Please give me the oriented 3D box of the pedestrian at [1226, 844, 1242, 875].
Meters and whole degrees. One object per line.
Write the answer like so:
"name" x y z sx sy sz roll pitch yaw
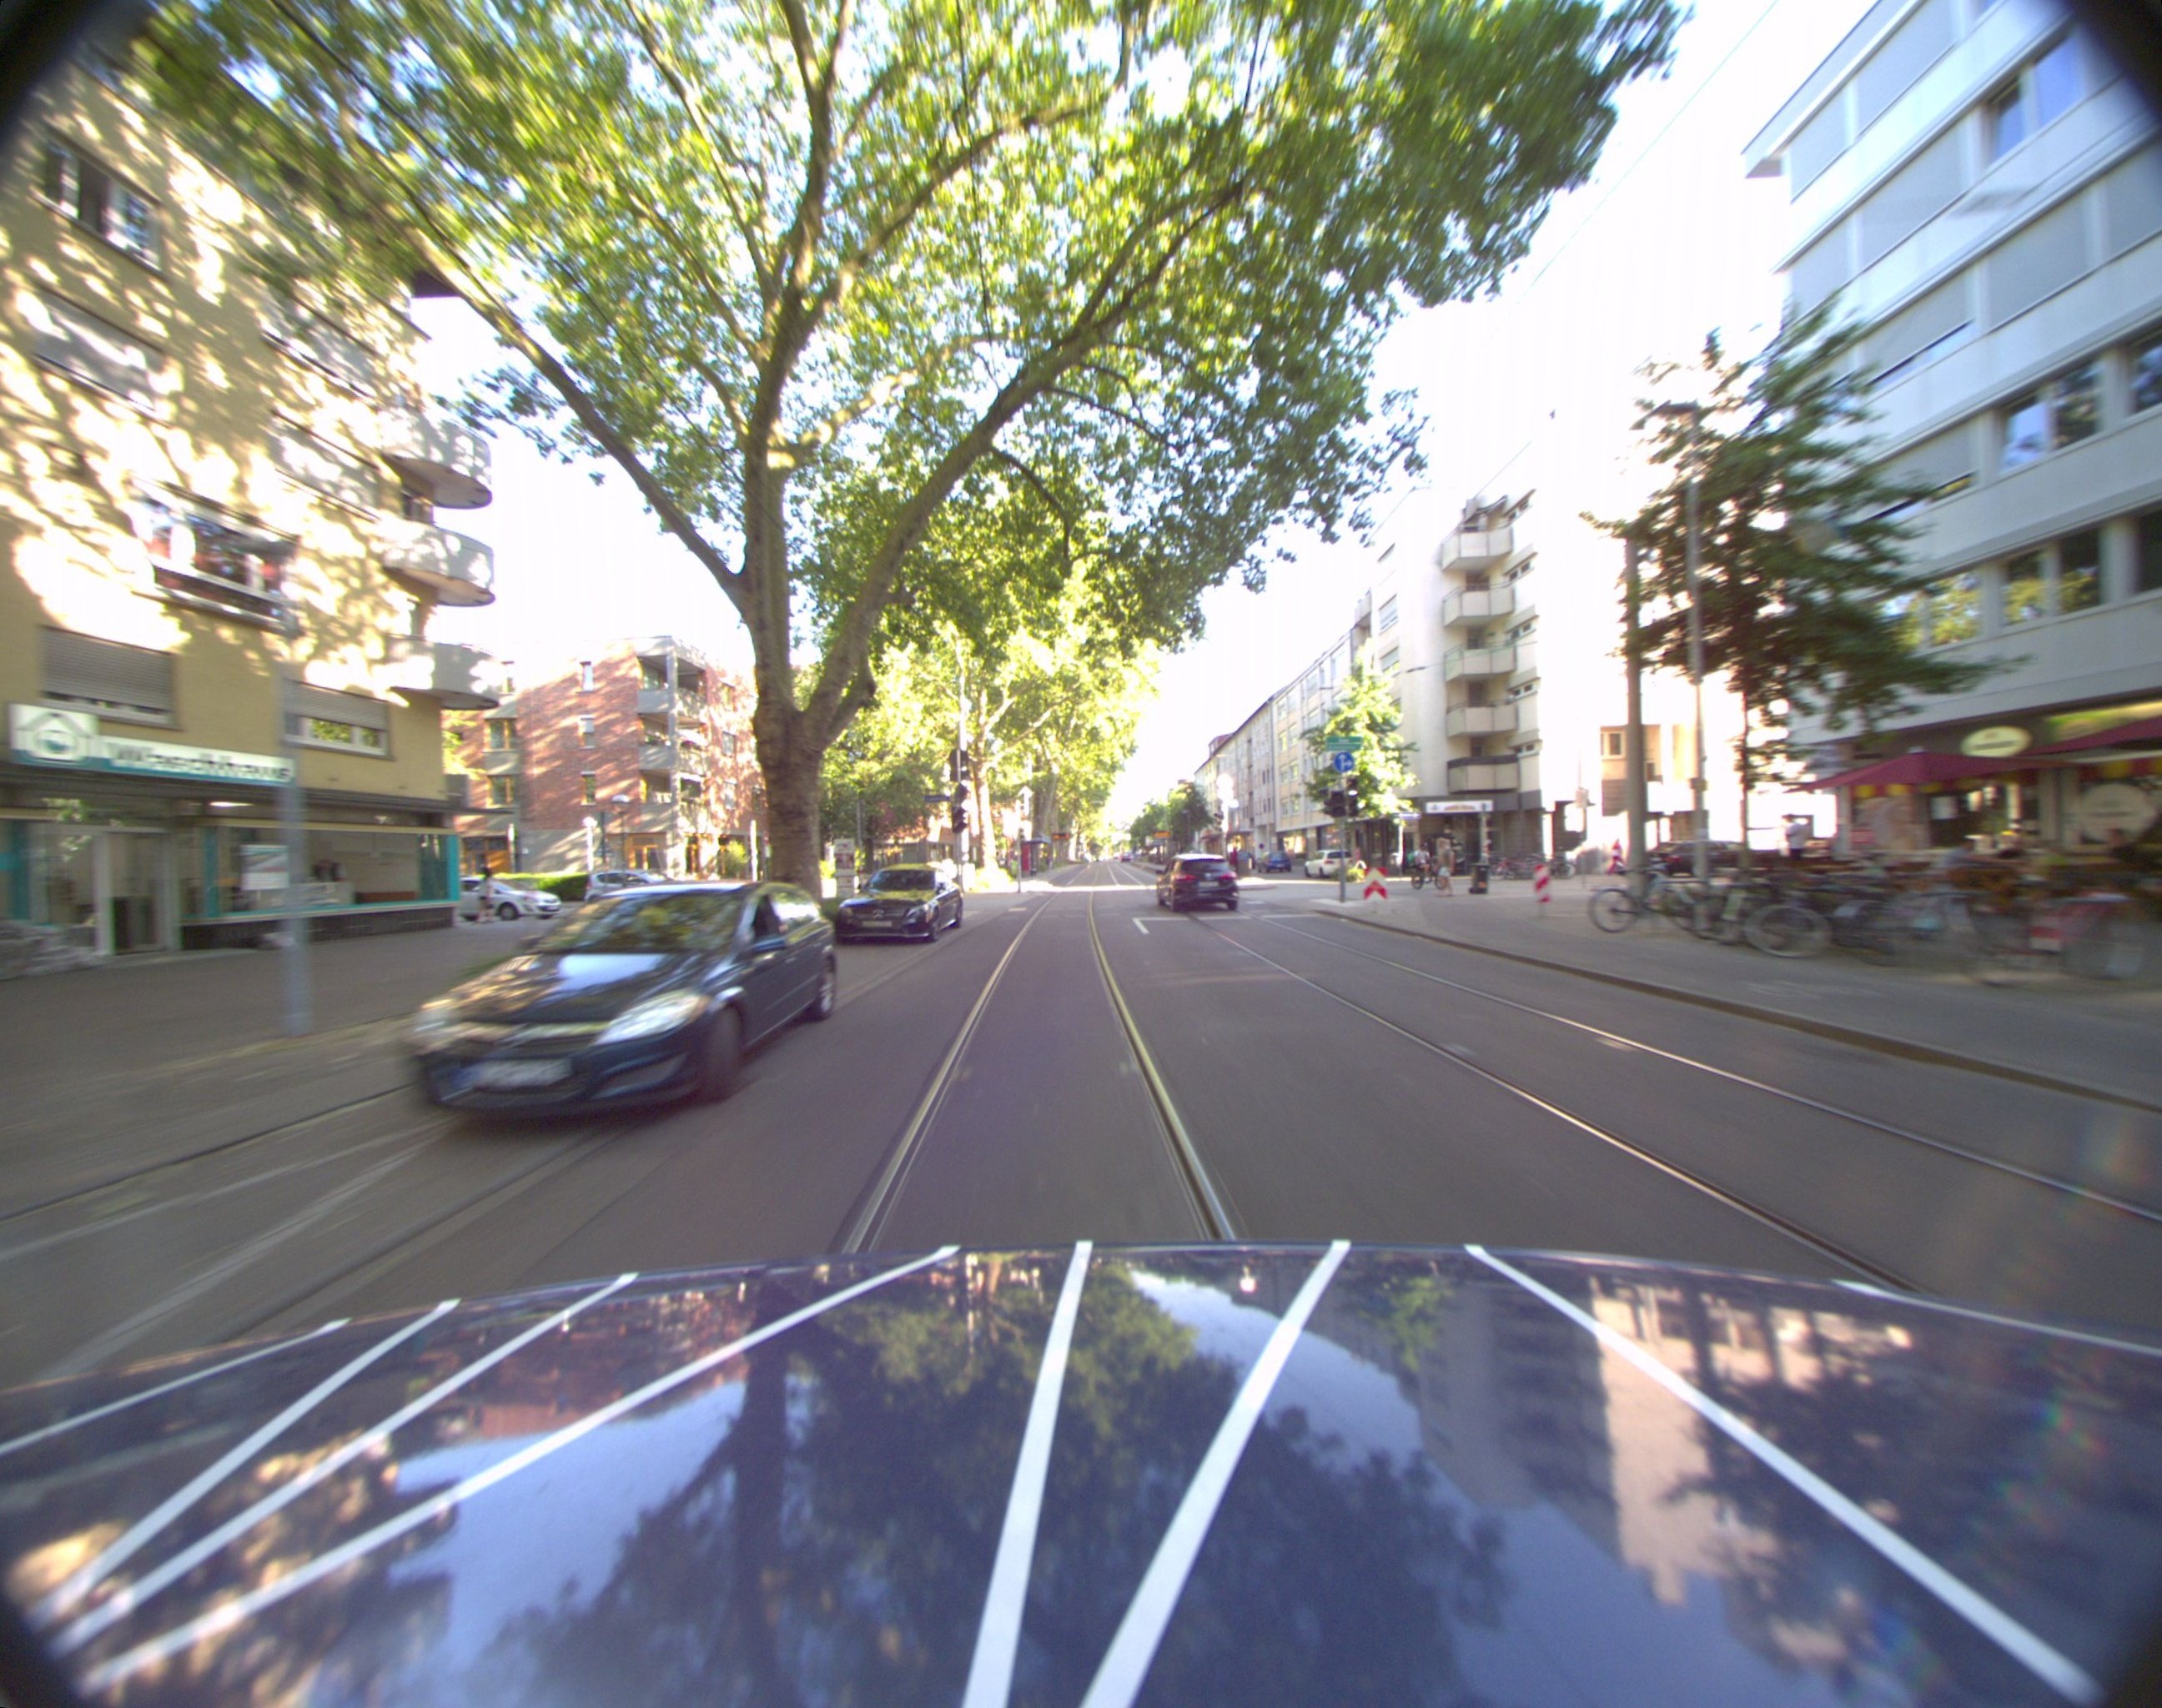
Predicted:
"pedestrian" 7.766 0.280 38.553 0.655 1.576 0.772 -2 1 2

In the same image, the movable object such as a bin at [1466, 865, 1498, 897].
"movable object such as a bin" 12.027 0.813 22.820 0.540 0.927 0.649 -1 0 -15

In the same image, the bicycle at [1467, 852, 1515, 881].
"bicycle" 17.295 0.506 32.012 2.039 1.150 0.571 -1 1 -21

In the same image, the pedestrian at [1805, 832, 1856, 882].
"pedestrian" 19.114 0.063 19.374 0.751 1.234 0.767 -1 1 -32

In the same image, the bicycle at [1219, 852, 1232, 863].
"bicycle" 15.488 0.384 81.304 0.561 1.150 2.028 -1 0 -14

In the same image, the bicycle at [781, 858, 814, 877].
"bicycle" -17.368 0.800 46.499 1.930 1.150 0.573 0 1 17

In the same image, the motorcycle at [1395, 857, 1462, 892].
"motorcycle" 12.035 0.686 26.359 0.853 1.157 1.910 -2 0 -36

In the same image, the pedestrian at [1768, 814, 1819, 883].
"pedestrian" 17.560 -0.138 18.734 0.770 1.650 0.748 -2 1 -33

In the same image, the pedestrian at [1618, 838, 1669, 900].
"pedestrian" 14.517 0.372 19.621 0.727 1.547 0.768 -1 1 -4

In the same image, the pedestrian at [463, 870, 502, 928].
"pedestrian" -16.392 1.213 20.818 0.701 1.530 0.692 -1 1 43

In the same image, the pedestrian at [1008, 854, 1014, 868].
"pedestrian" -8.799 0.870 95.686 0.710 1.681 0.749 -1 1 0

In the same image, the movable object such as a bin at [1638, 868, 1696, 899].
"movable object such as a bin" 15.484 0.770 20.083 1.197 0.753 0.665 -3 1 -20

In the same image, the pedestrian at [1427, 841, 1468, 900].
"pedestrian" 10.579 0.469 21.964 0.759 1.661 0.768 -1 1 -4

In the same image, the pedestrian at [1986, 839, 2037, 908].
"pedestrian" 16.480 0.332 13.453 0.565 1.191 0.512 -2 1 -33

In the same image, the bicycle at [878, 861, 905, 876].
"bicycle" -14.965 1.161 60.057 2.035 1.150 0.572 0 1 7

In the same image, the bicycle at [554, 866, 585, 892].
"bicycle" -24.481 1.175 36.367 0.564 1.150 1.696 0 0 -9

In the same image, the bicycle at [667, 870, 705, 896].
"bicycle" -18.720 1.361 36.046 0.637 1.150 1.983 0 0 4

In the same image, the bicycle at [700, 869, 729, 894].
"bicycle" -17.466 1.304 36.246 0.601 1.150 1.697 0 0 -3

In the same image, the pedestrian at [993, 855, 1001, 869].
"pedestrian" -10.179 0.999 91.780 0.768 1.650 0.917 -1 1 2

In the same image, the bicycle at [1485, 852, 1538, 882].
"bicycle" 17.053 0.518 30.120 1.785 1.150 0.573 -1 1 32

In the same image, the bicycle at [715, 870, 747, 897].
"bicycle" -16.382 1.367 35.590 0.601 1.150 1.698 0 0 5

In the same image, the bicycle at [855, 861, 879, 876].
"bicycle" -16.931 1.170 60.158 1.681 1.150 0.572 0 1 7

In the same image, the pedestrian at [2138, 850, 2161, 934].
"pedestrian" 15.770 0.543 10.894 0.603 1.191 0.690 -2 1 -33

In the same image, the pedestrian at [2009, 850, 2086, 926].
"pedestrian" 15.606 0.544 12.280 0.512 1.191 0.564 -1 1 3

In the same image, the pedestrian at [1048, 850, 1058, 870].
"pedestrian" -2.325 0.475 62.168 0.768 1.650 0.917 -1 1 -3

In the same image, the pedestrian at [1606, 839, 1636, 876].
"pedestrian" 22.578 0.143 31.781 0.727 1.547 0.725 -1 1 -1

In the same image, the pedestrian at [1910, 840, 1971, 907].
"pedestrian" 15.780 0.351 13.962 0.513 1.191 0.563 -1 1 -15

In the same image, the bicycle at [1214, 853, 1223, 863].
"bicycle" 15.457 0.425 85.391 0.572 1.150 2.037 -1 0 -4

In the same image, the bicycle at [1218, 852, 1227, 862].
"bicycle" 15.543 0.337 83.457 0.494 1.150 1.751 -1 0 -4

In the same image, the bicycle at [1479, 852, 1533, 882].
"bicycle" 17.352 0.520 31.041 1.862 1.150 0.572 -1 1 6

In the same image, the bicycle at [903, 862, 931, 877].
"bicycle" -12.788 1.191 59.187 2.036 1.150 0.572 0 1 2

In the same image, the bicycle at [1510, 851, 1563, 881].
"bicycle" 18.022 0.486 30.086 1.785 1.150 0.573 -1 1 32
